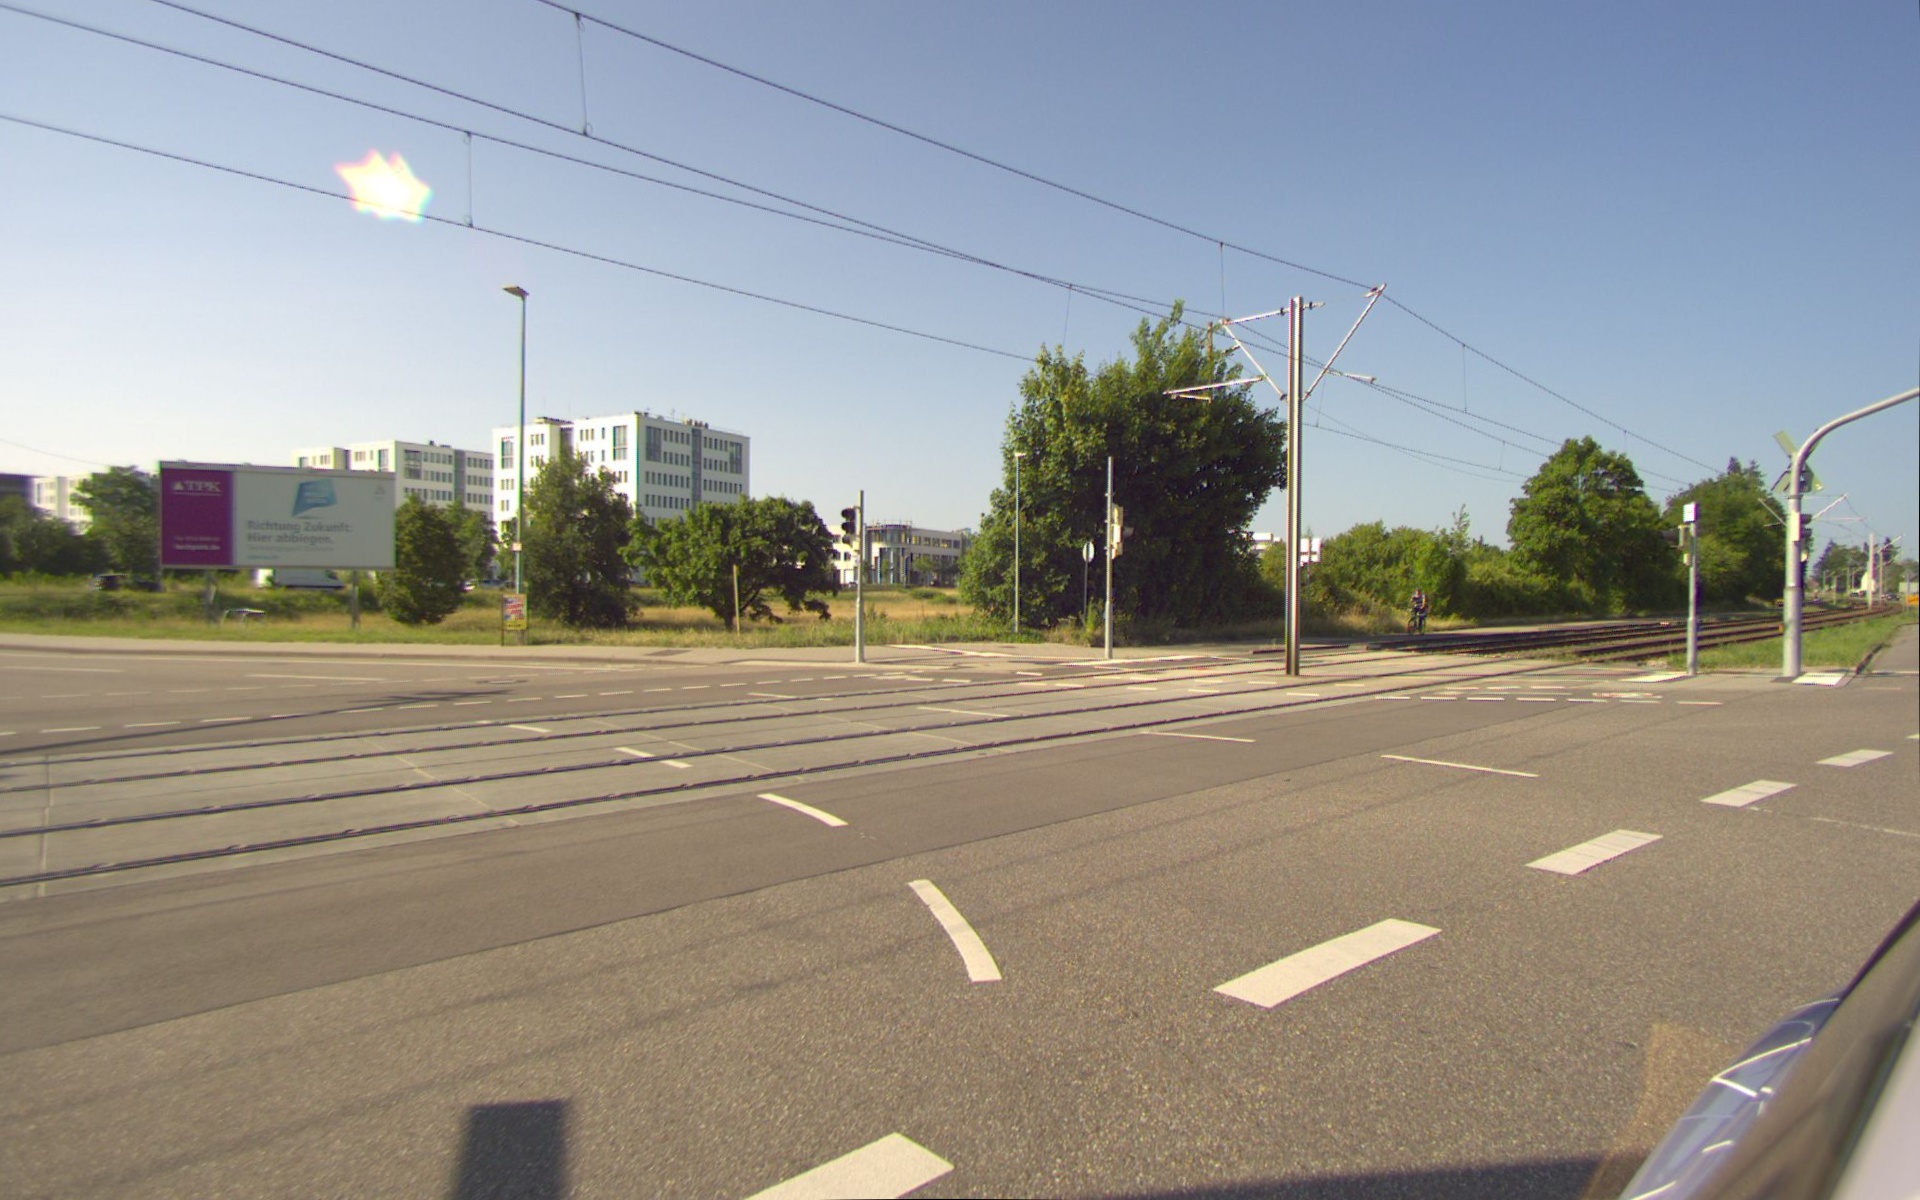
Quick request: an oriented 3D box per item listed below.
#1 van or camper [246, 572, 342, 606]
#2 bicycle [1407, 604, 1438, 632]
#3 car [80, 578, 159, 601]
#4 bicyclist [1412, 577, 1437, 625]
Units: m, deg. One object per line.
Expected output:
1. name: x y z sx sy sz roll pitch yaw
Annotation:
1. van or camper: -56.343 -0.948 85.798 2.214 2.813 6.691 0 1 23
2. bicycle: 18.054 0.680 39.484 0.545 1.060 1.844 1 1 44
3. car: -61.365 -0.796 73.956 1.975 1.616 3.974 1 1 20
4. bicyclist: 18.150 0.037 39.547 0.706 1.830 0.706 1 0 44
